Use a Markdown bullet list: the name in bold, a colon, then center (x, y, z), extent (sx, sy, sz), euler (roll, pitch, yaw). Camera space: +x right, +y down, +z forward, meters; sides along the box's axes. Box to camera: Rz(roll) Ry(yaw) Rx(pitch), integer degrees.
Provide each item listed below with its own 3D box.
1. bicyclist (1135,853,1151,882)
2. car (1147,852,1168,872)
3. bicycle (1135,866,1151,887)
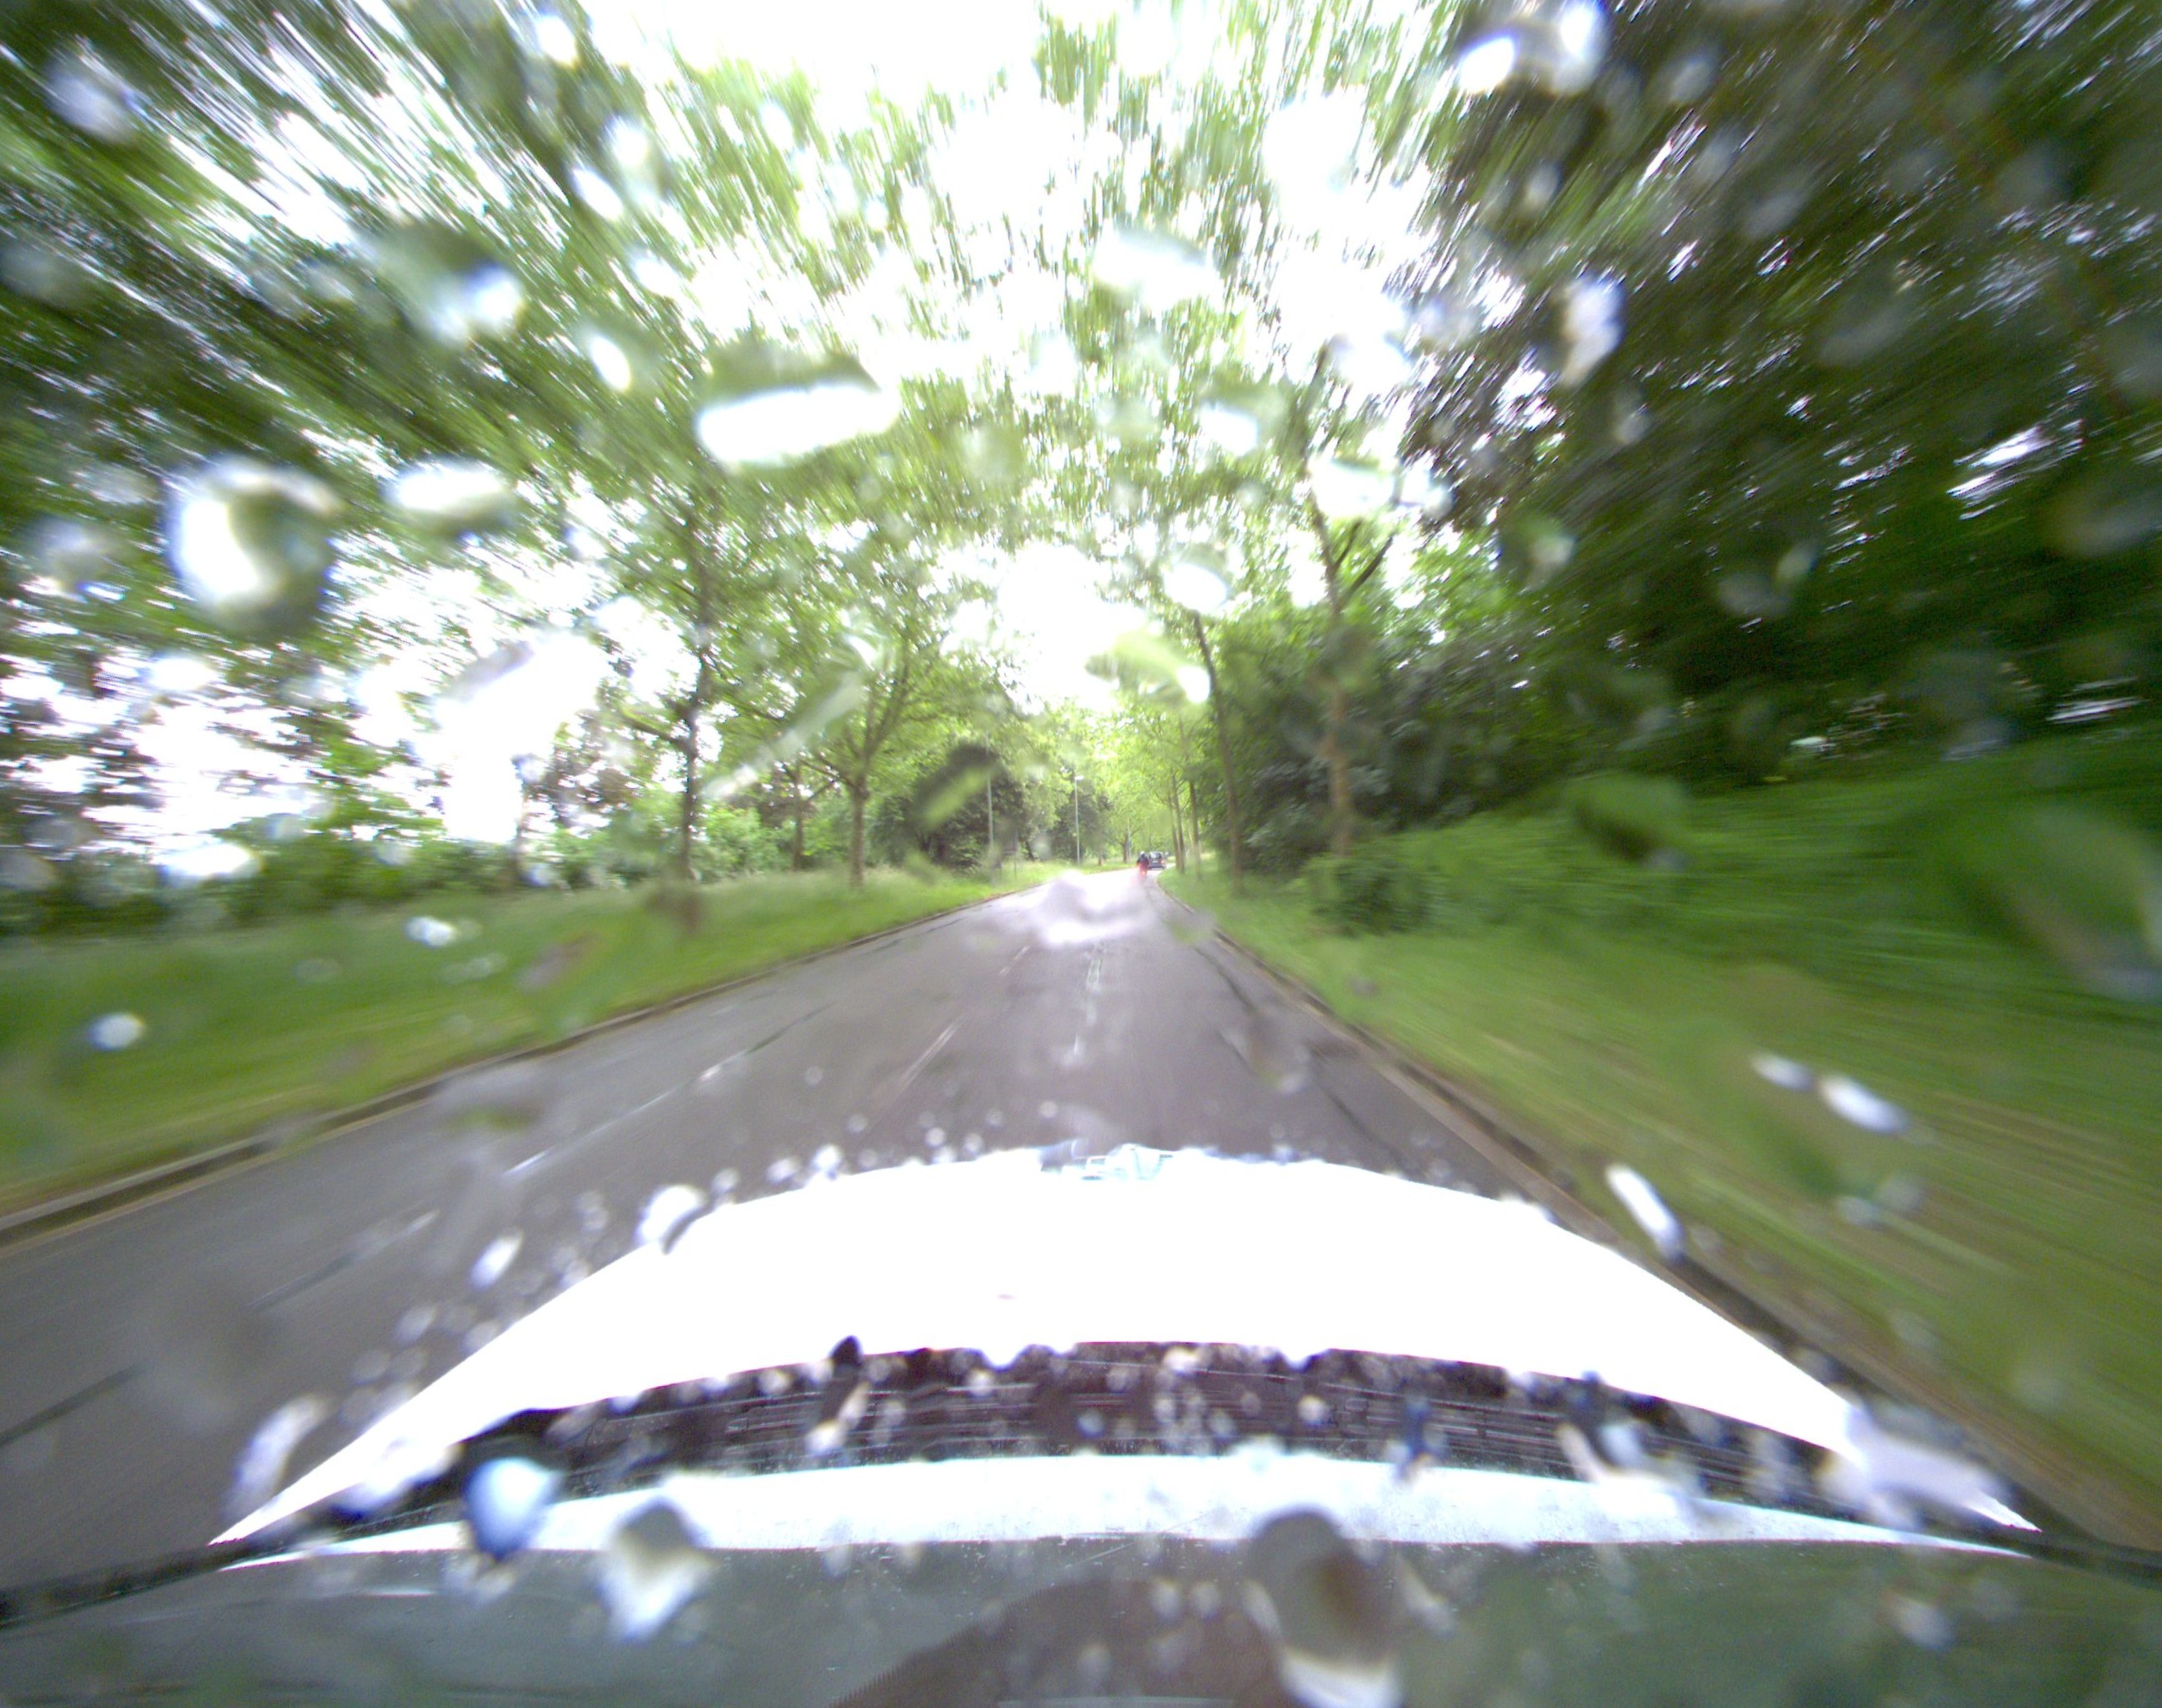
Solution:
- **bicyclist**: center (3.075, 0.651, 40.388), extent (0.726, 1.411, 0.974), euler (-1, 0, 5)
- **car**: center (7.818, 0.799, 83.186), extent (1.975, 1.926, 4.008), euler (-2, 0, 7)
- **bicycle**: center (3.105, 1.121, 40.641), extent (0.726, 0.974, 2.176), euler (-1, 0, 5)
